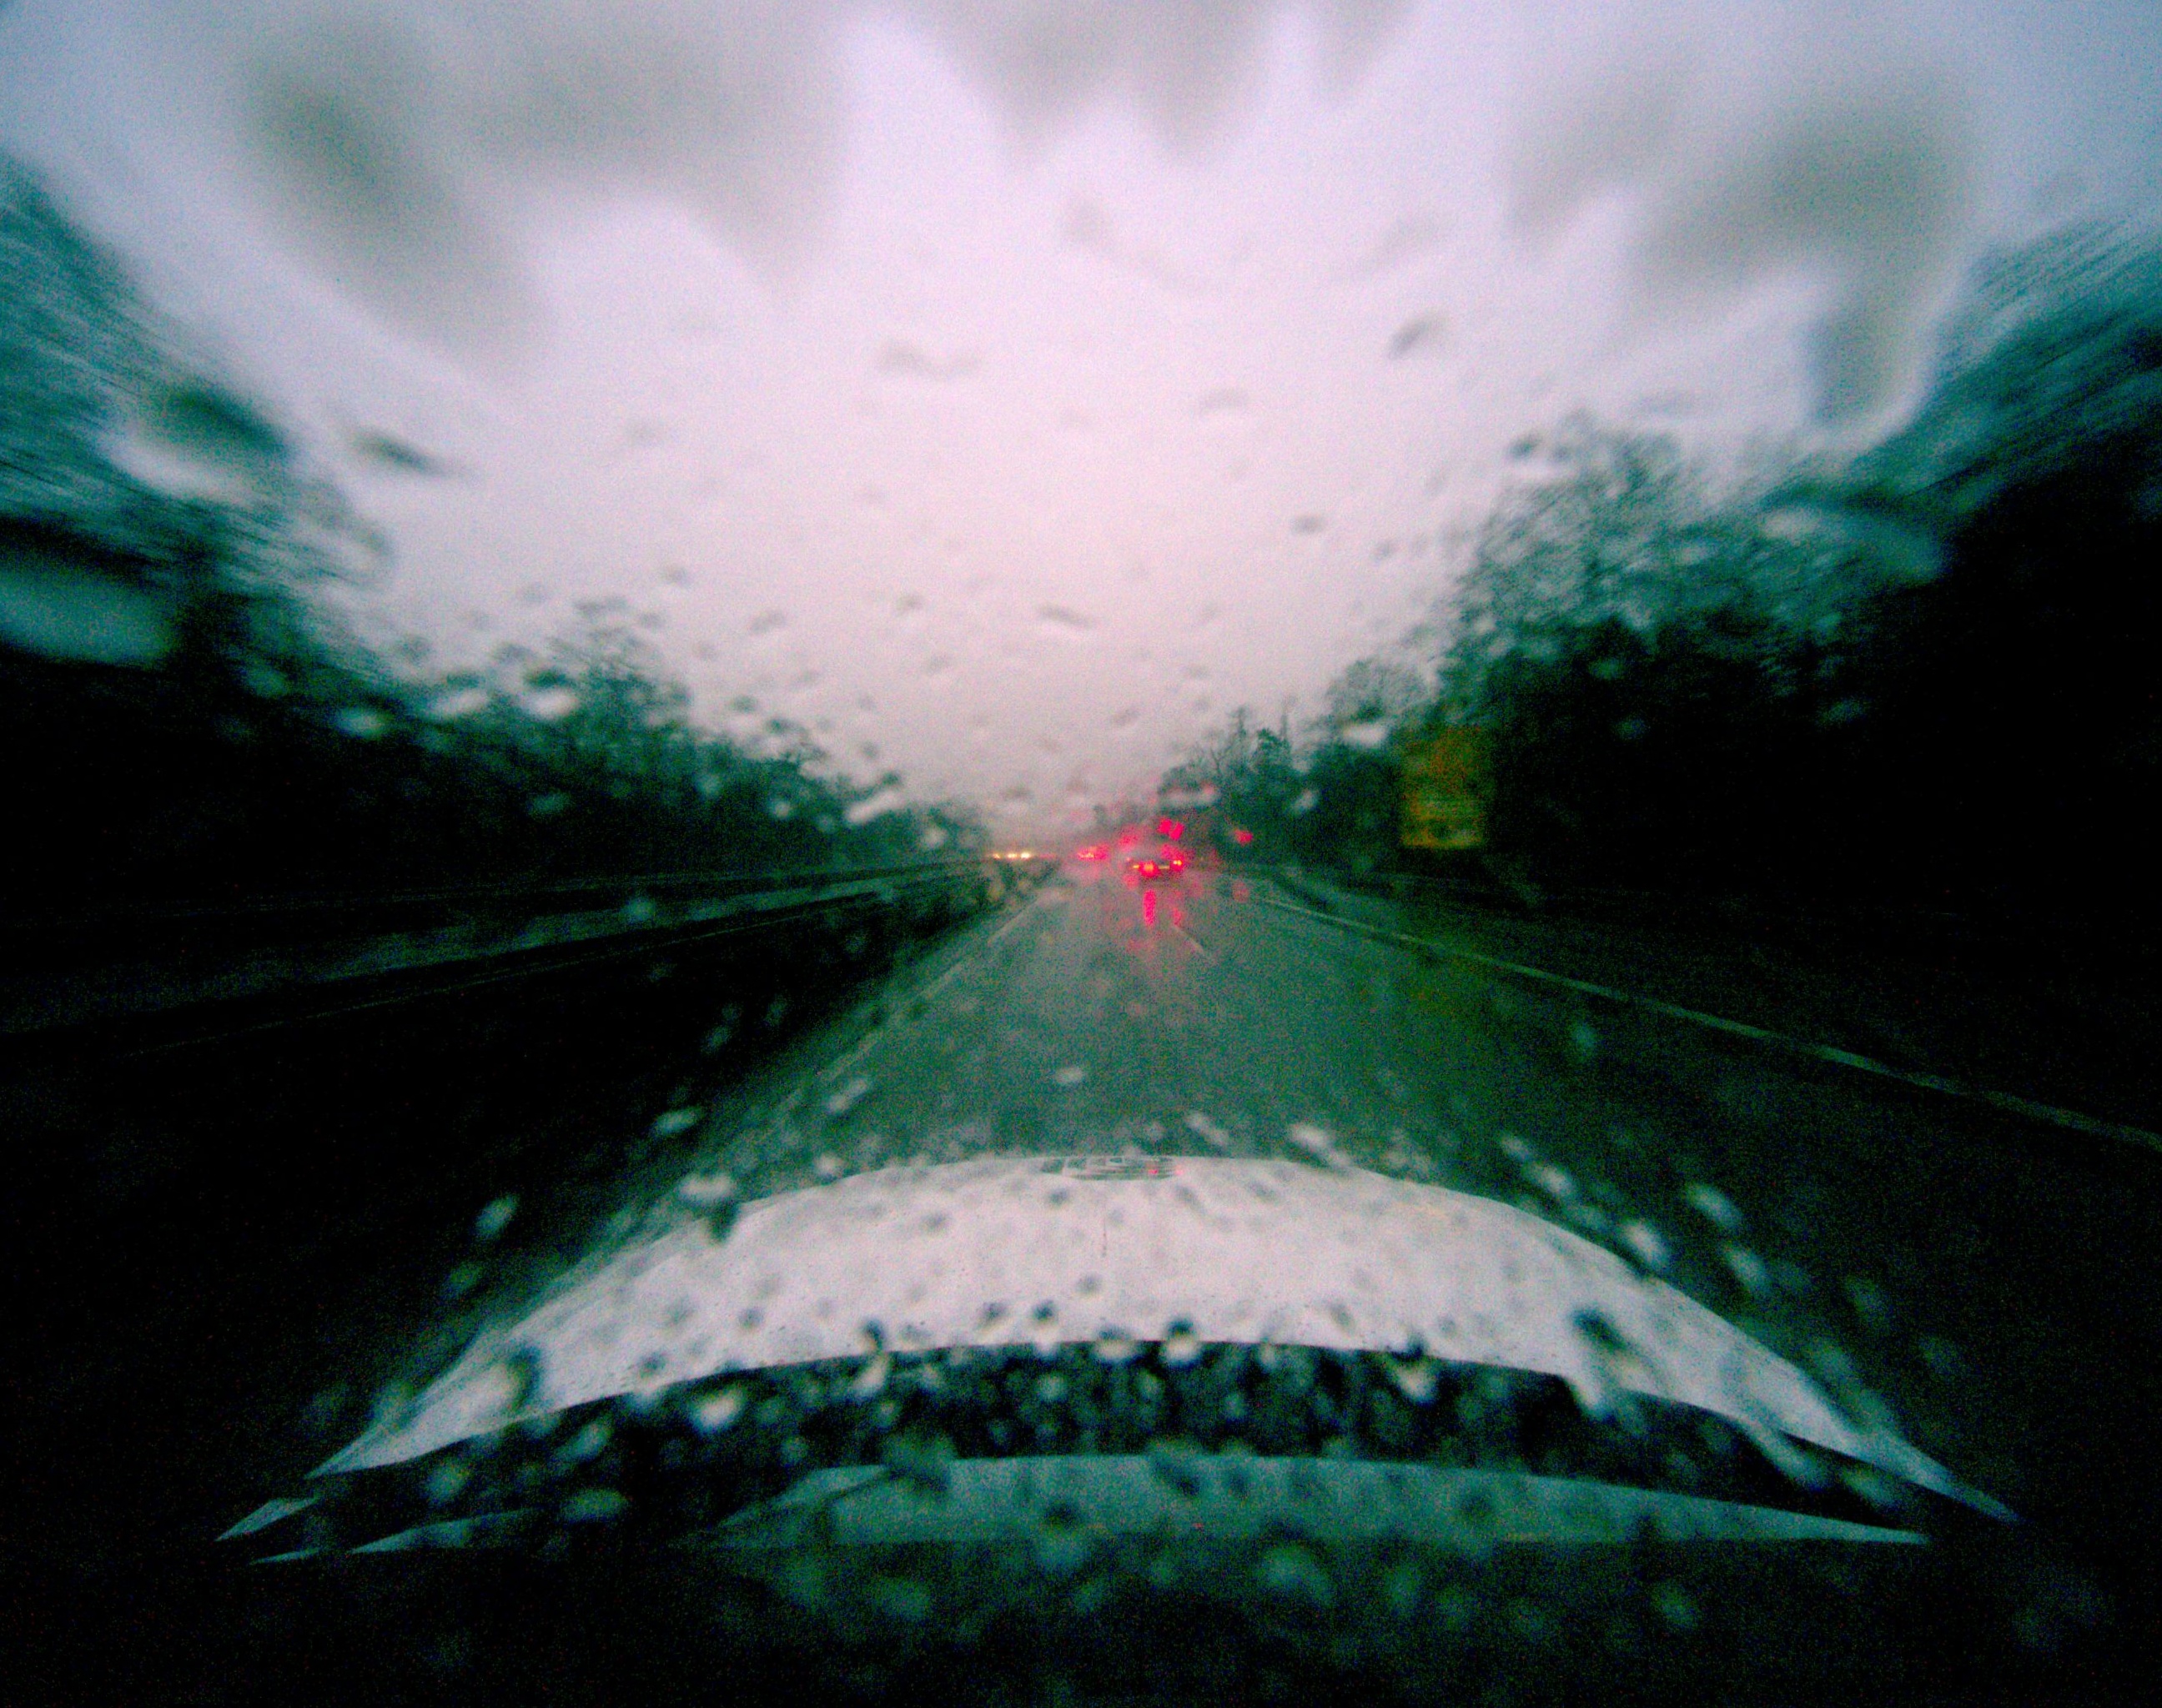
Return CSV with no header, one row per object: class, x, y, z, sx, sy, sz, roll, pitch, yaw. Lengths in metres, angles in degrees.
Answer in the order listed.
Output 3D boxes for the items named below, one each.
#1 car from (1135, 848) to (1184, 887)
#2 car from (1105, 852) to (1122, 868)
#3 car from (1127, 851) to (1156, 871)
car,3.602,0.621,37.991,1.985,1.715,3.831,-1,0,1
car,4.206,0.752,105.996,1.987,2.014,4.000,-1,0,0
car,4.660,0.536,63.214,1.986,1.420,4.001,1,-1,1
